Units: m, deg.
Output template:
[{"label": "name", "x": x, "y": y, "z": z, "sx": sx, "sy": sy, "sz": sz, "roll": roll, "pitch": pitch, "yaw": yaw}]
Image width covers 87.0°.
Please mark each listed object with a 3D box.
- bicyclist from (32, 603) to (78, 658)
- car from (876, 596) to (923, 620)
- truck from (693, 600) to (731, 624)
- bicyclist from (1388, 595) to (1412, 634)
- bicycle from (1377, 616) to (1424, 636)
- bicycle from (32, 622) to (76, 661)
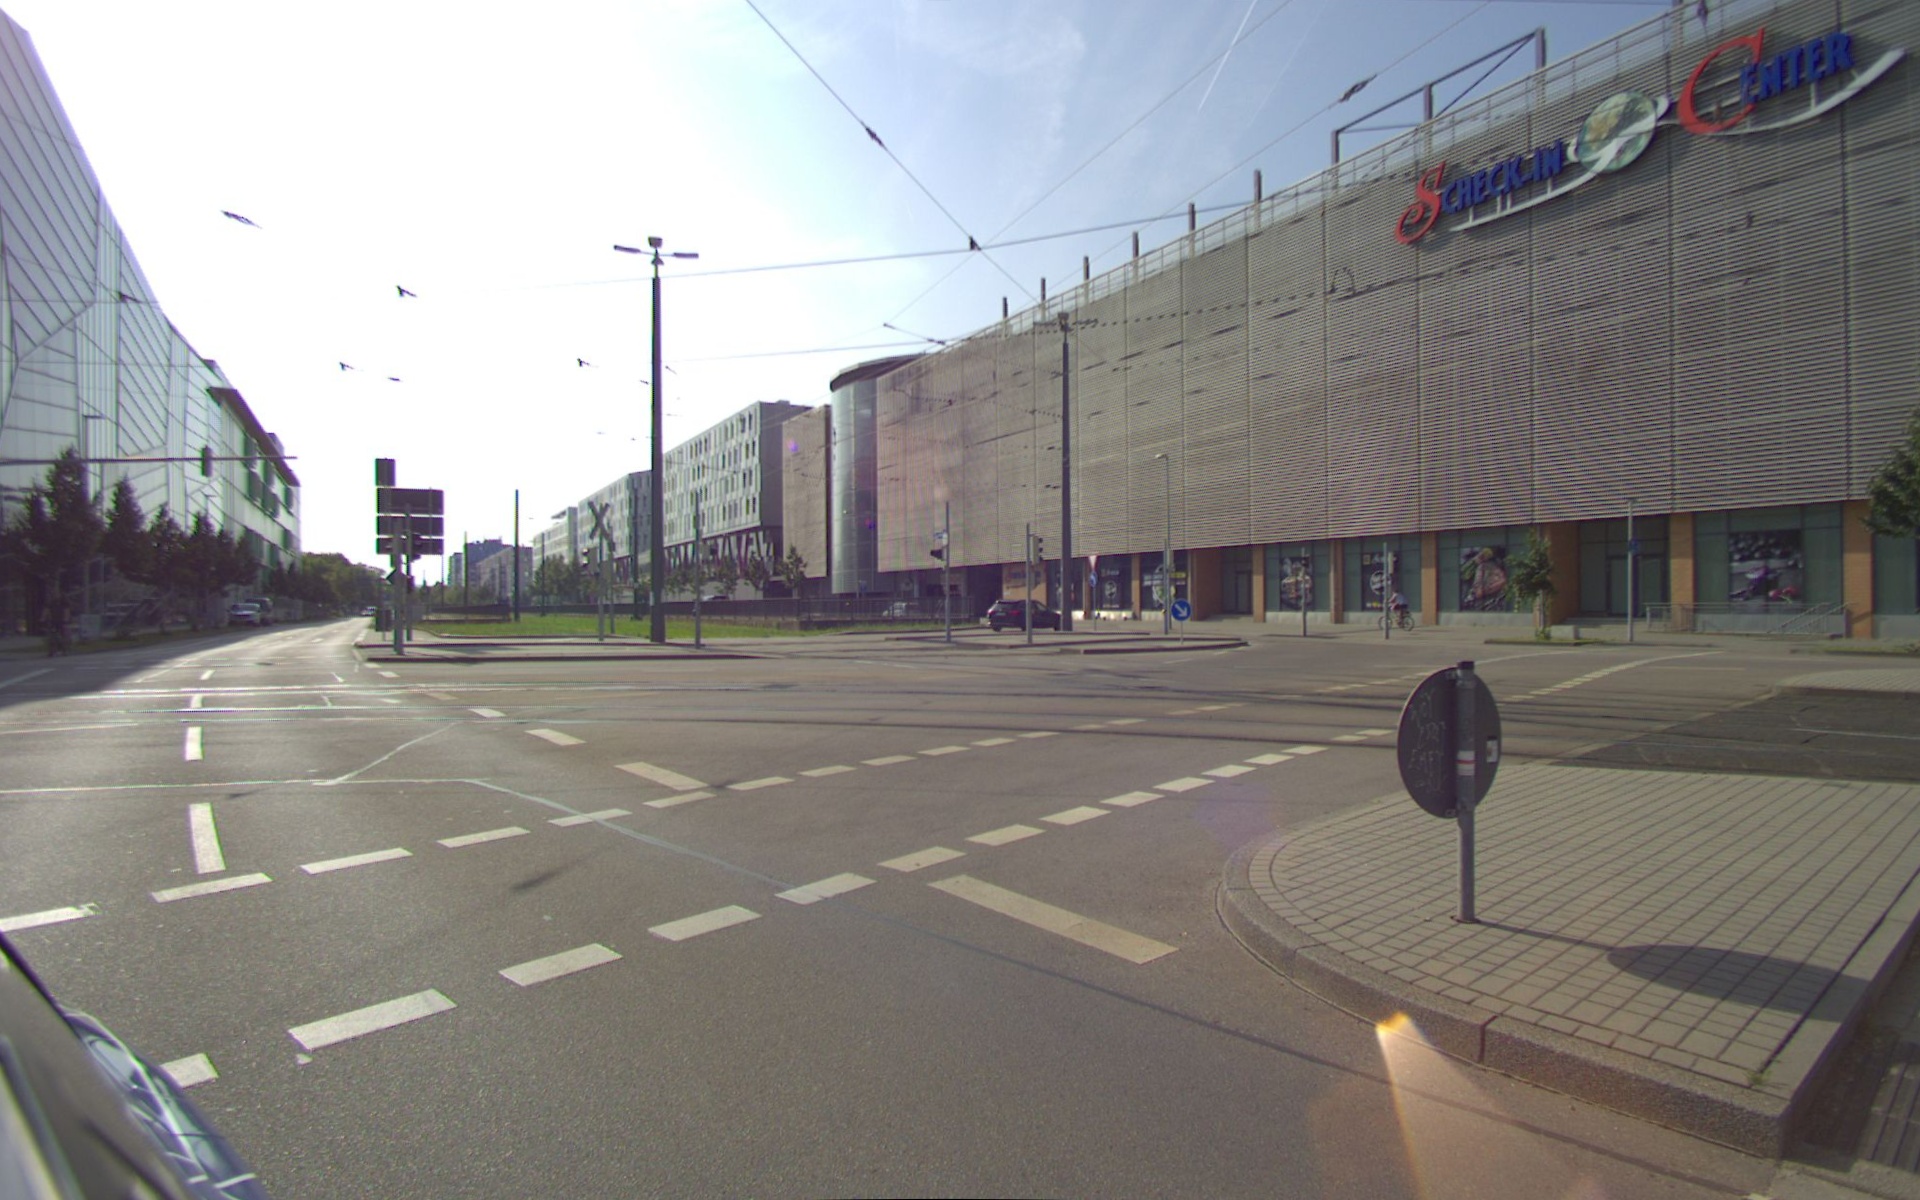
[{"label": "bicyclist", "x": -27.039, "y": 0.908, "z": 30.249, "sx": 0.770, "sy": 1.598, "sz": 0.935, "roll": 0, "pitch": 0, "yaw": -25}, {"label": "car", "x": -4.110, "y": 0.517, "z": 68.351, "sx": 1.714, "sy": 1.571, "sz": 3.412, "roll": 0, "pitch": 1, "yaw": -31}, {"label": "truck", "x": -24.790, "y": 1.167, "z": 101.002, "sx": 2.171, "sy": 2.339, "sz": 4.562, "roll": 0, "pitch": -1, "yaw": -35}, {"label": "bicyclist", "x": 18.940, "y": 0.607, "z": 43.573, "sx": 0.559, "sy": 1.642, "sz": 0.716, "roll": 0, "pitch": 0, "yaw": -32}, {"label": "bicycle", "x": 18.958, "y": 1.110, "z": 43.597, "sx": 0.572, "sy": 0.785, "sz": 1.874, "roll": 0, "pitch": 1, "yaw": -31}, {"label": "bicycle", "x": -27.071, "y": 1.229, "z": 30.252, "sx": 0.412, "sy": 1.064, "sz": 1.966, "roll": 0, "pitch": 0, "yaw": -25}]
